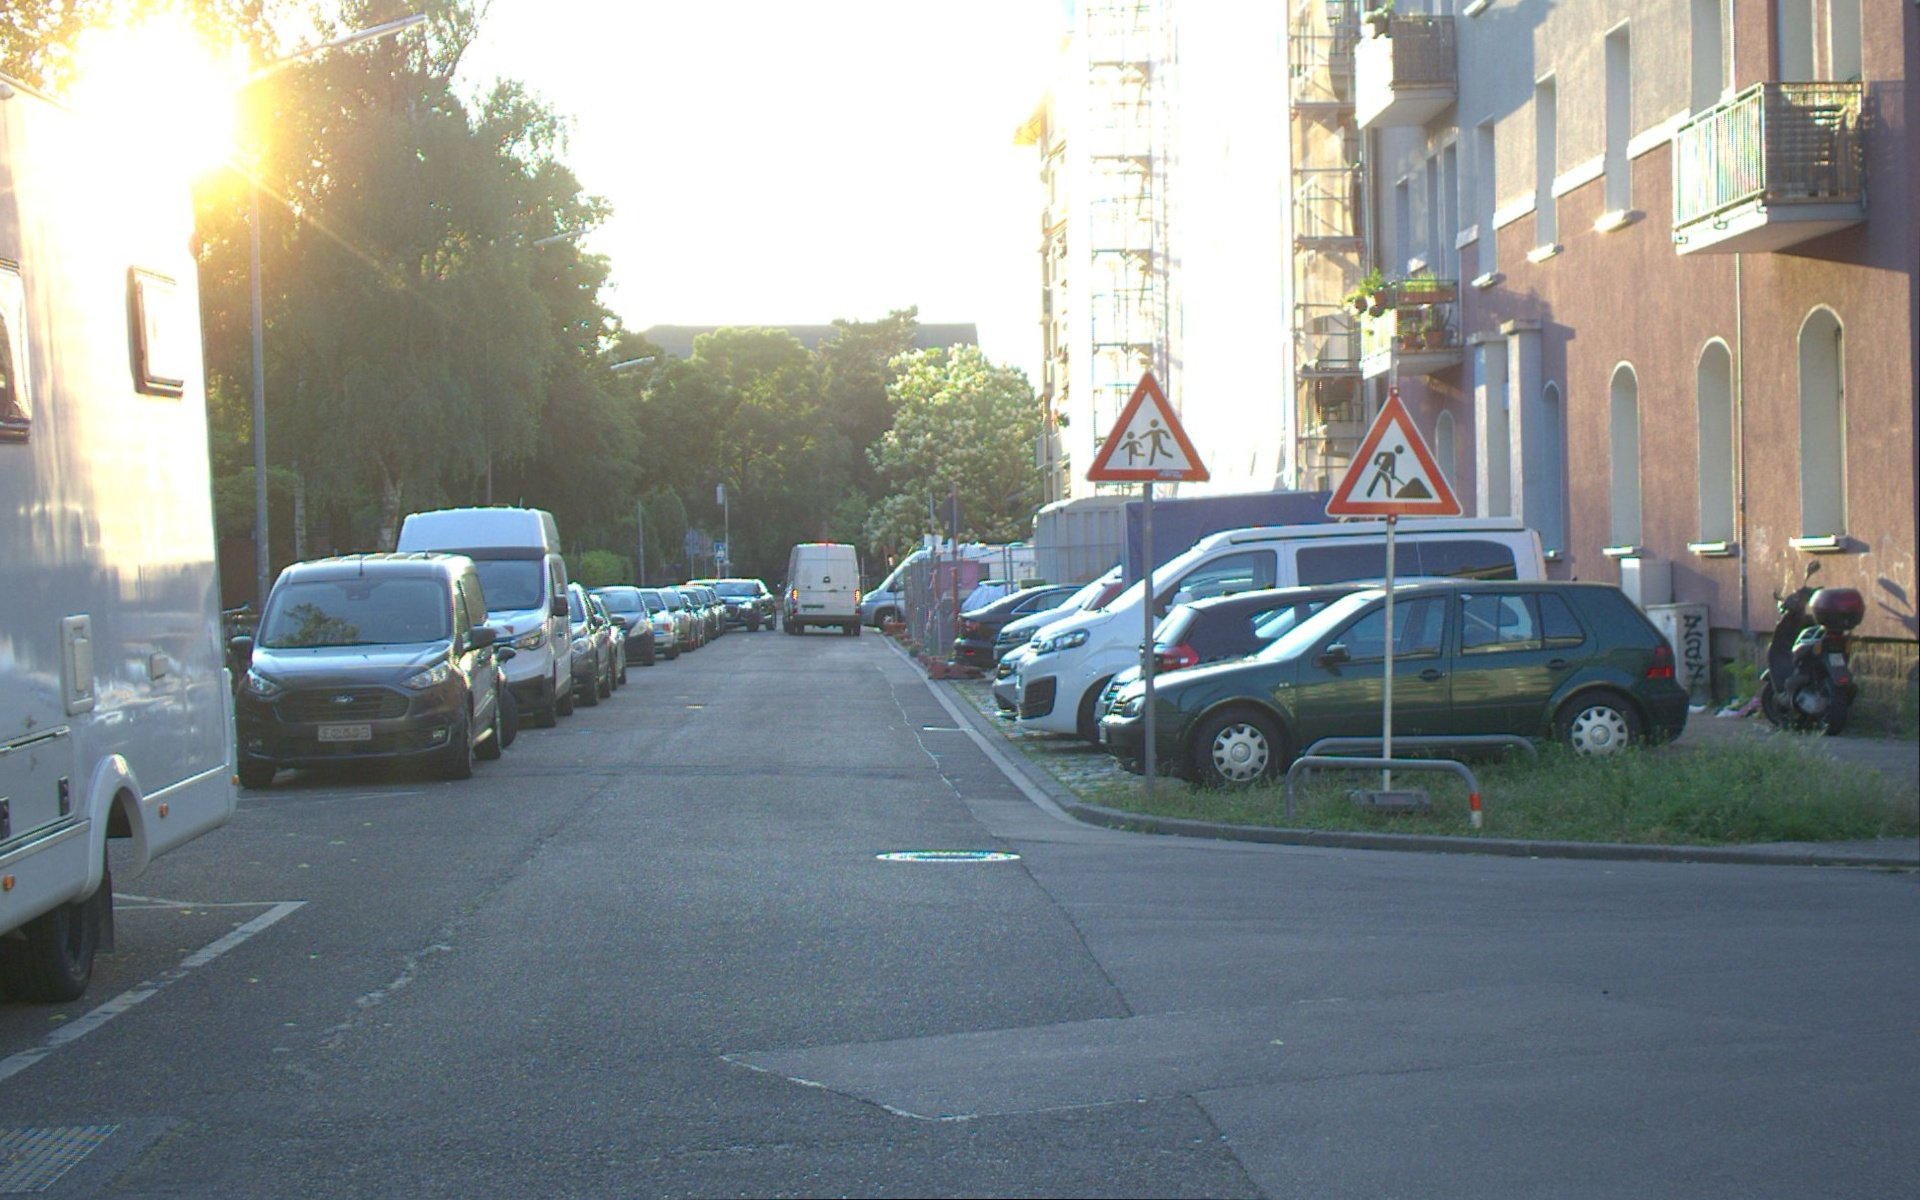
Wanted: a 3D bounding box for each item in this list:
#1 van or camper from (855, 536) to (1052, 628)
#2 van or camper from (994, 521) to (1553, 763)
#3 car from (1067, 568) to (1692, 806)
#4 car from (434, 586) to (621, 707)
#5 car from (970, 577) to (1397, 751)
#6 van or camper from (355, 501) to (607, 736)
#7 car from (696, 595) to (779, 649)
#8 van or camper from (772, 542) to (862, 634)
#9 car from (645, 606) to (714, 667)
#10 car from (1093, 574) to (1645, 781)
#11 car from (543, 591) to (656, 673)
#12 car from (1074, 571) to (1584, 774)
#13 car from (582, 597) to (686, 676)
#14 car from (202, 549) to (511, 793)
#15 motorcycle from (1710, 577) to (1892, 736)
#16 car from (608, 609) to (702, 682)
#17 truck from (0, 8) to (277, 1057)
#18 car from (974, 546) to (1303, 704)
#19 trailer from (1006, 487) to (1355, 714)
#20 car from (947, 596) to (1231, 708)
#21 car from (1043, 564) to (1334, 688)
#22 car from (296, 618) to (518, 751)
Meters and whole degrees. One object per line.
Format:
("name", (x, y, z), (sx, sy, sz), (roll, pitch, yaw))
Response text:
("van or camper", (-0.227, -0.541, 105.803), (5.928, 2.760, 2.110), (1, 0, -3))
("van or camper", (2.790, 0.365, 31.400), (4.833, 2.089, 2.041), (-1, 0, -3))
("car", (2.916, 0.587, 24.447), (4.101, 1.580, 1.855), (-1, 0, -5))
("car", (-5.640, 0.581, 45.350), (1.993, 1.514, 4.789), (0, 0, -2))
("car", (2.163, 0.619, 34.115), (3.986, 1.634, 2.000), (-1, -1, -4))
("van or camper", (-5.336, 0.189, 39.071), (1.993, 2.448, 6.083), (-1, 0, 0))
("car", (-6.731, 0.666, 104.604), (1.804, 1.564, 4.564), (-1, 0, 5))
("van or camper", (-4.115, -0.328, 99.537), (2.453, 2.538, 6.083), (1, 0, -2))
("car", (-7.183, 0.925, 88.225), (1.601, 1.427, 3.804), (-3, 0, -3))
("car", (3.142, 0.583, 26.980), (3.986, 1.525, 2.000), (-1, 0, -4))
("car", (-6.563, 0.565, 62.861), (1.993, 1.448, 4.001), (0, 0, -5))
("car", (3.059, 0.588, 29.109), (3.986, 1.612, 2.000), (-1, 0, -4))
("car", (-6.485, 0.713, 68.727), (1.782, 1.441, 4.749), (-3, 0, -3))
("car", (-4.859, 0.528, 28.315), (1.910, 1.782, 4.950), (-2, 0, -3))
("motorcycle", (6.825, 0.438, 28.045), (0.742, 1.231, 2.653), (-1, 0, -2))
("car", (-6.821, 0.992, 77.183), (1.859, 1.533, 4.759), (-2, 0, -3))
("truck", (-4.306, -0.196, 11.154), (2.525, 3.342, 8.018), (-3, 0, -1))
("car", (2.502, 0.326, 48.688), (4.265, 1.973, 1.822), (-3, 1, -9))
("trailer", (2.448, -0.001, 38.835), (3.566, 2.329, 1.941), (-3, 0, -5))
("car", (1.889, 0.761, 51.373), (4.153, 1.610, 1.872), (-1, 0, 0))
("car", (3.042, 0.341, 46.268), (3.691, 1.605, 1.745), (-1, 0, -4))
("car", (-5.288, 0.775, 33.284), (1.993, 1.185, 4.037), (0, 0, -7))
